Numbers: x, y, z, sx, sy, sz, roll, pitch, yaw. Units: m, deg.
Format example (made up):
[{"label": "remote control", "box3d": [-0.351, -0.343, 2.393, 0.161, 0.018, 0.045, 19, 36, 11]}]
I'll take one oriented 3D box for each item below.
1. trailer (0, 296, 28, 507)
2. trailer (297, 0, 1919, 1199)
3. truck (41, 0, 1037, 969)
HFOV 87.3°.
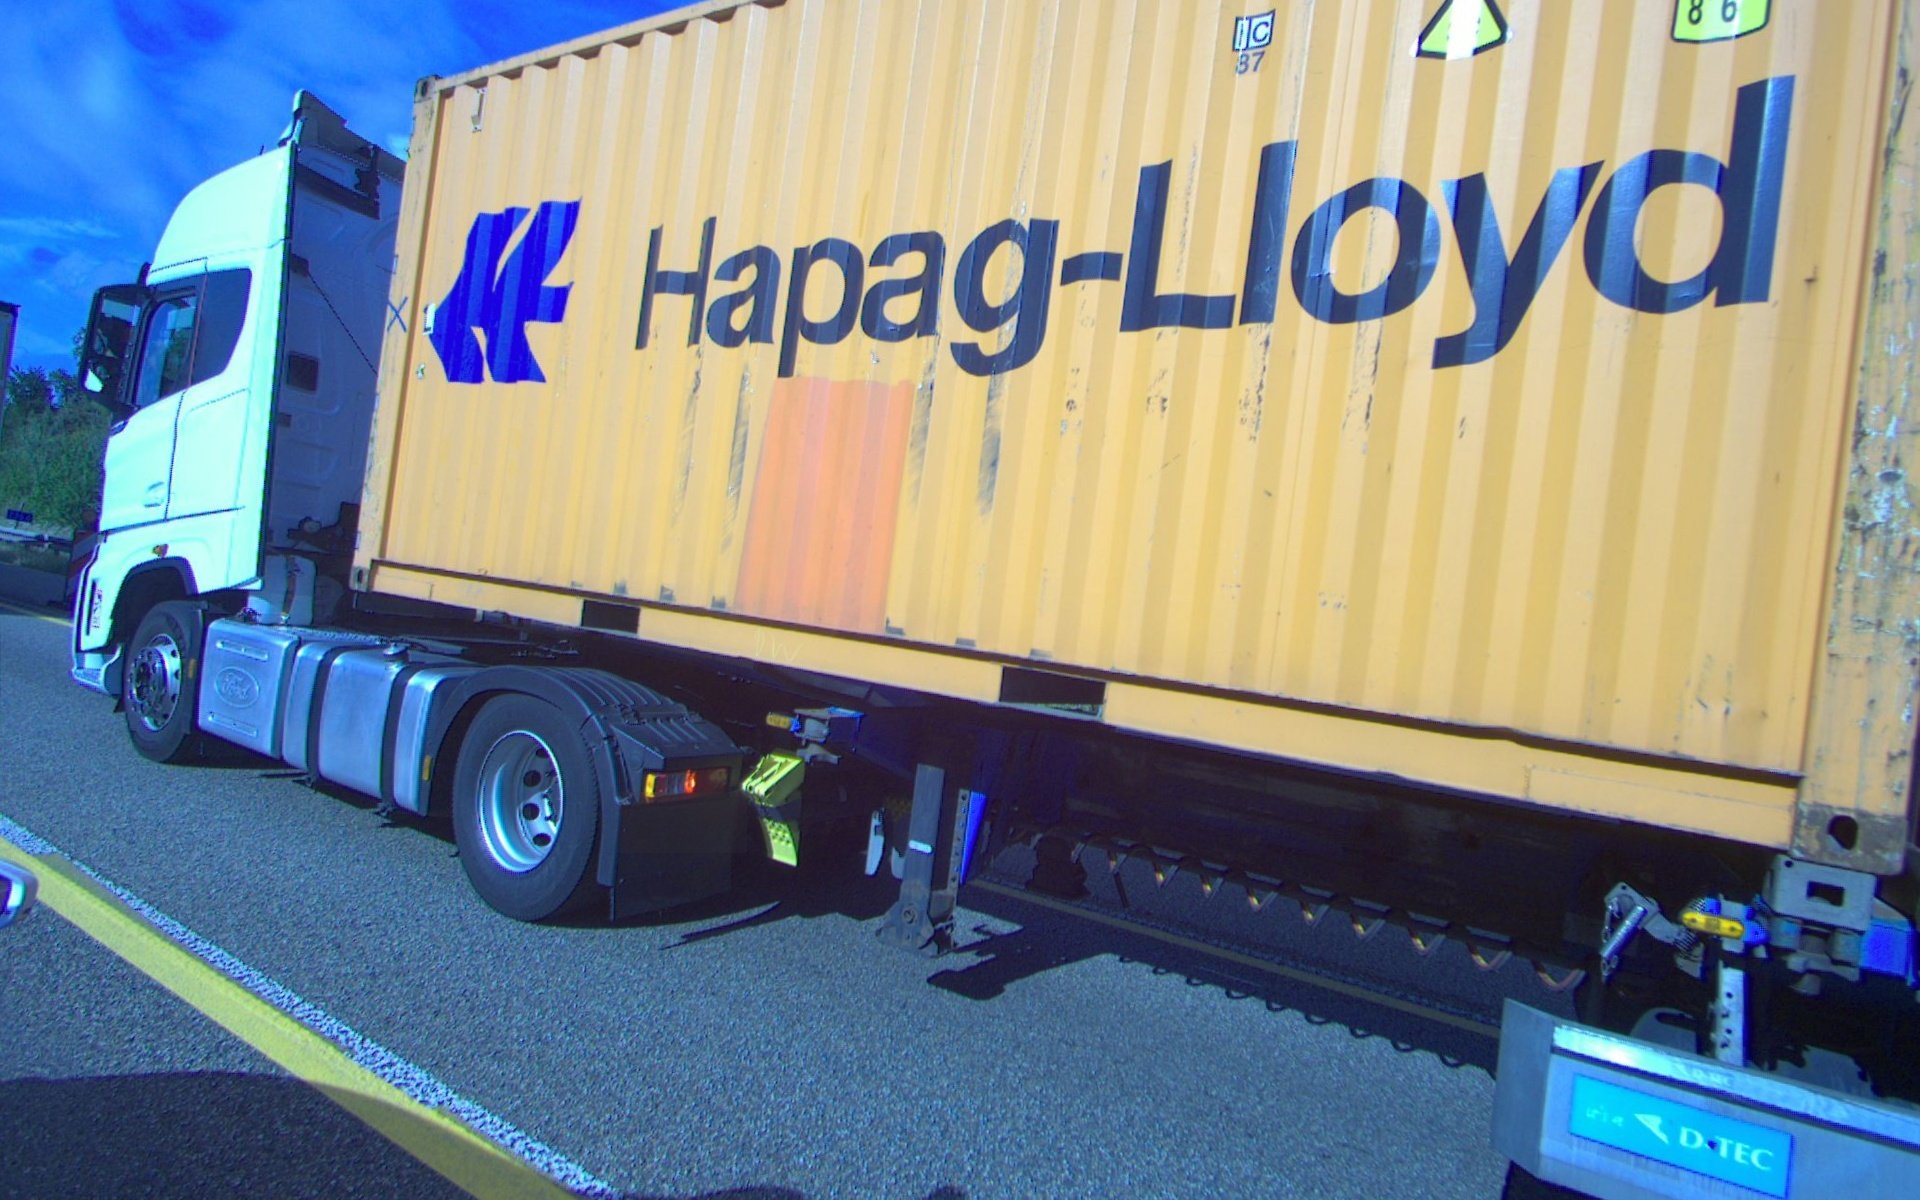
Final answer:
[{"label": "trailer", "box3d": [-18.610, -2.639, 15.264, 13.193, 4.015, 2.705, 7, -1, 31]}, {"label": "trailer", "box3d": [2.611, -0.056, 2.982, 11.934, 3.818, 2.476, 7, -1, 31]}, {"label": "truck", "box3d": [-2.824, -0.670, 6.316, 5.693, 3.825, 2.500, 6, -1, 31]}]
